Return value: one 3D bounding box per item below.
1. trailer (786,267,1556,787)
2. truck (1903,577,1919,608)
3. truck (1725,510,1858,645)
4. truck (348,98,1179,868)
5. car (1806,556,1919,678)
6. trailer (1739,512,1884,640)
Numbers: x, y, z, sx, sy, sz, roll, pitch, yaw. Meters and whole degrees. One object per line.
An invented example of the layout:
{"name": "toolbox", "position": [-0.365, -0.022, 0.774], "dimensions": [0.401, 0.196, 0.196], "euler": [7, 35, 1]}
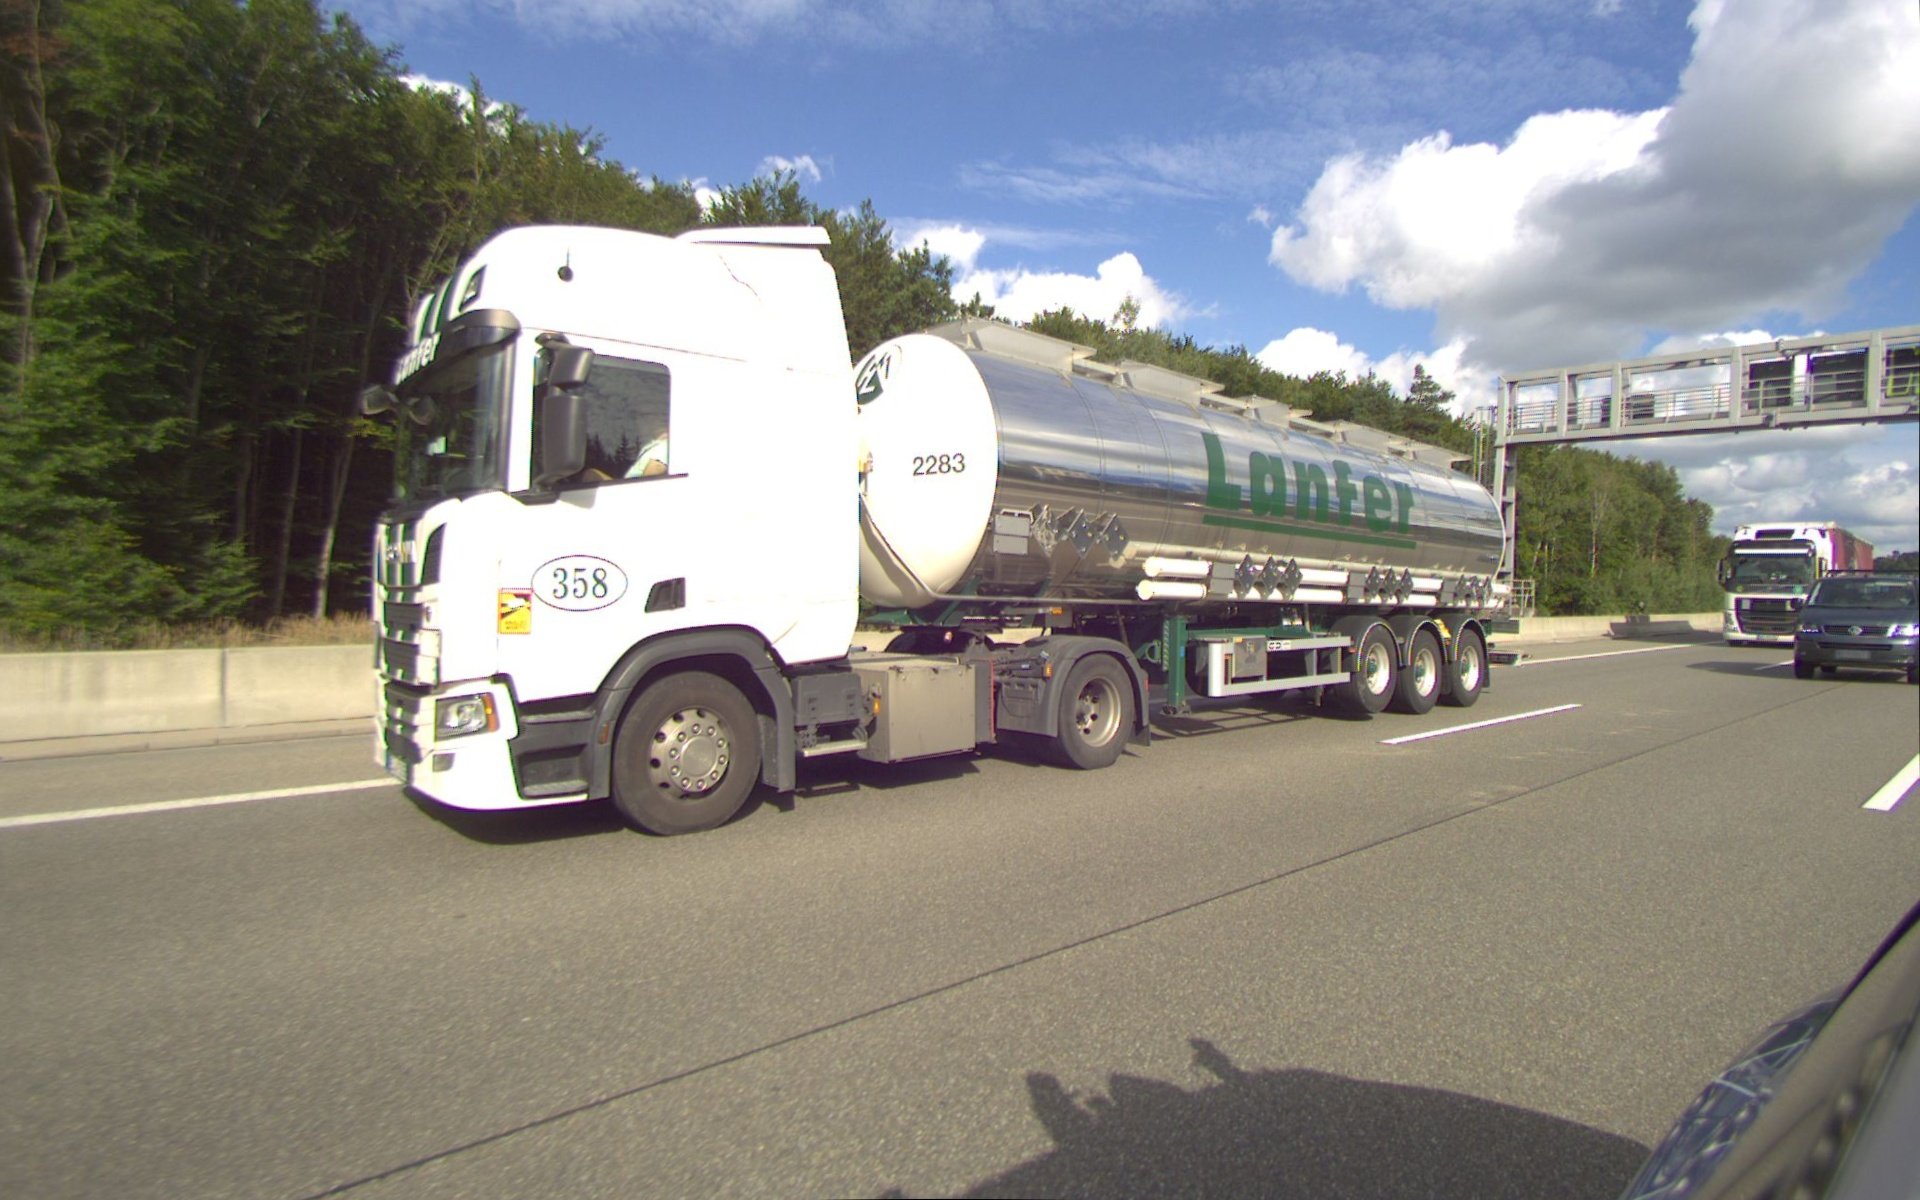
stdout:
{"name": "trailer", "position": [3.637, -0.556, 12.290], "dimensions": [11.653, 3.814, 2.653], "euler": [0, 1, -41]}
{"name": "truck", "position": [116.765, -0.908, 123.096], "dimensions": [3.010, 3.730, 7.442], "euler": [2, 1, 43]}
{"name": "truck", "position": [27.736, -0.715, 33.679], "dimensions": [5.677, 4.096, 2.776], "euler": [0, 0, -44]}
{"name": "truck", "position": [-1.176, -0.613, 8.080], "dimensions": [5.975, 3.871, 2.654], "euler": [0, 1, -41]}
{"name": "car", "position": [18.186, 0.284, 19.794], "dimensions": [4.847, 2.136, 1.852], "euler": [0, 0, -42]}
{"name": "trailer", "position": [32.283, -0.779, 38.059], "dimensions": [13.485, 4.096, 2.776], "euler": [0, 0, -44]}
